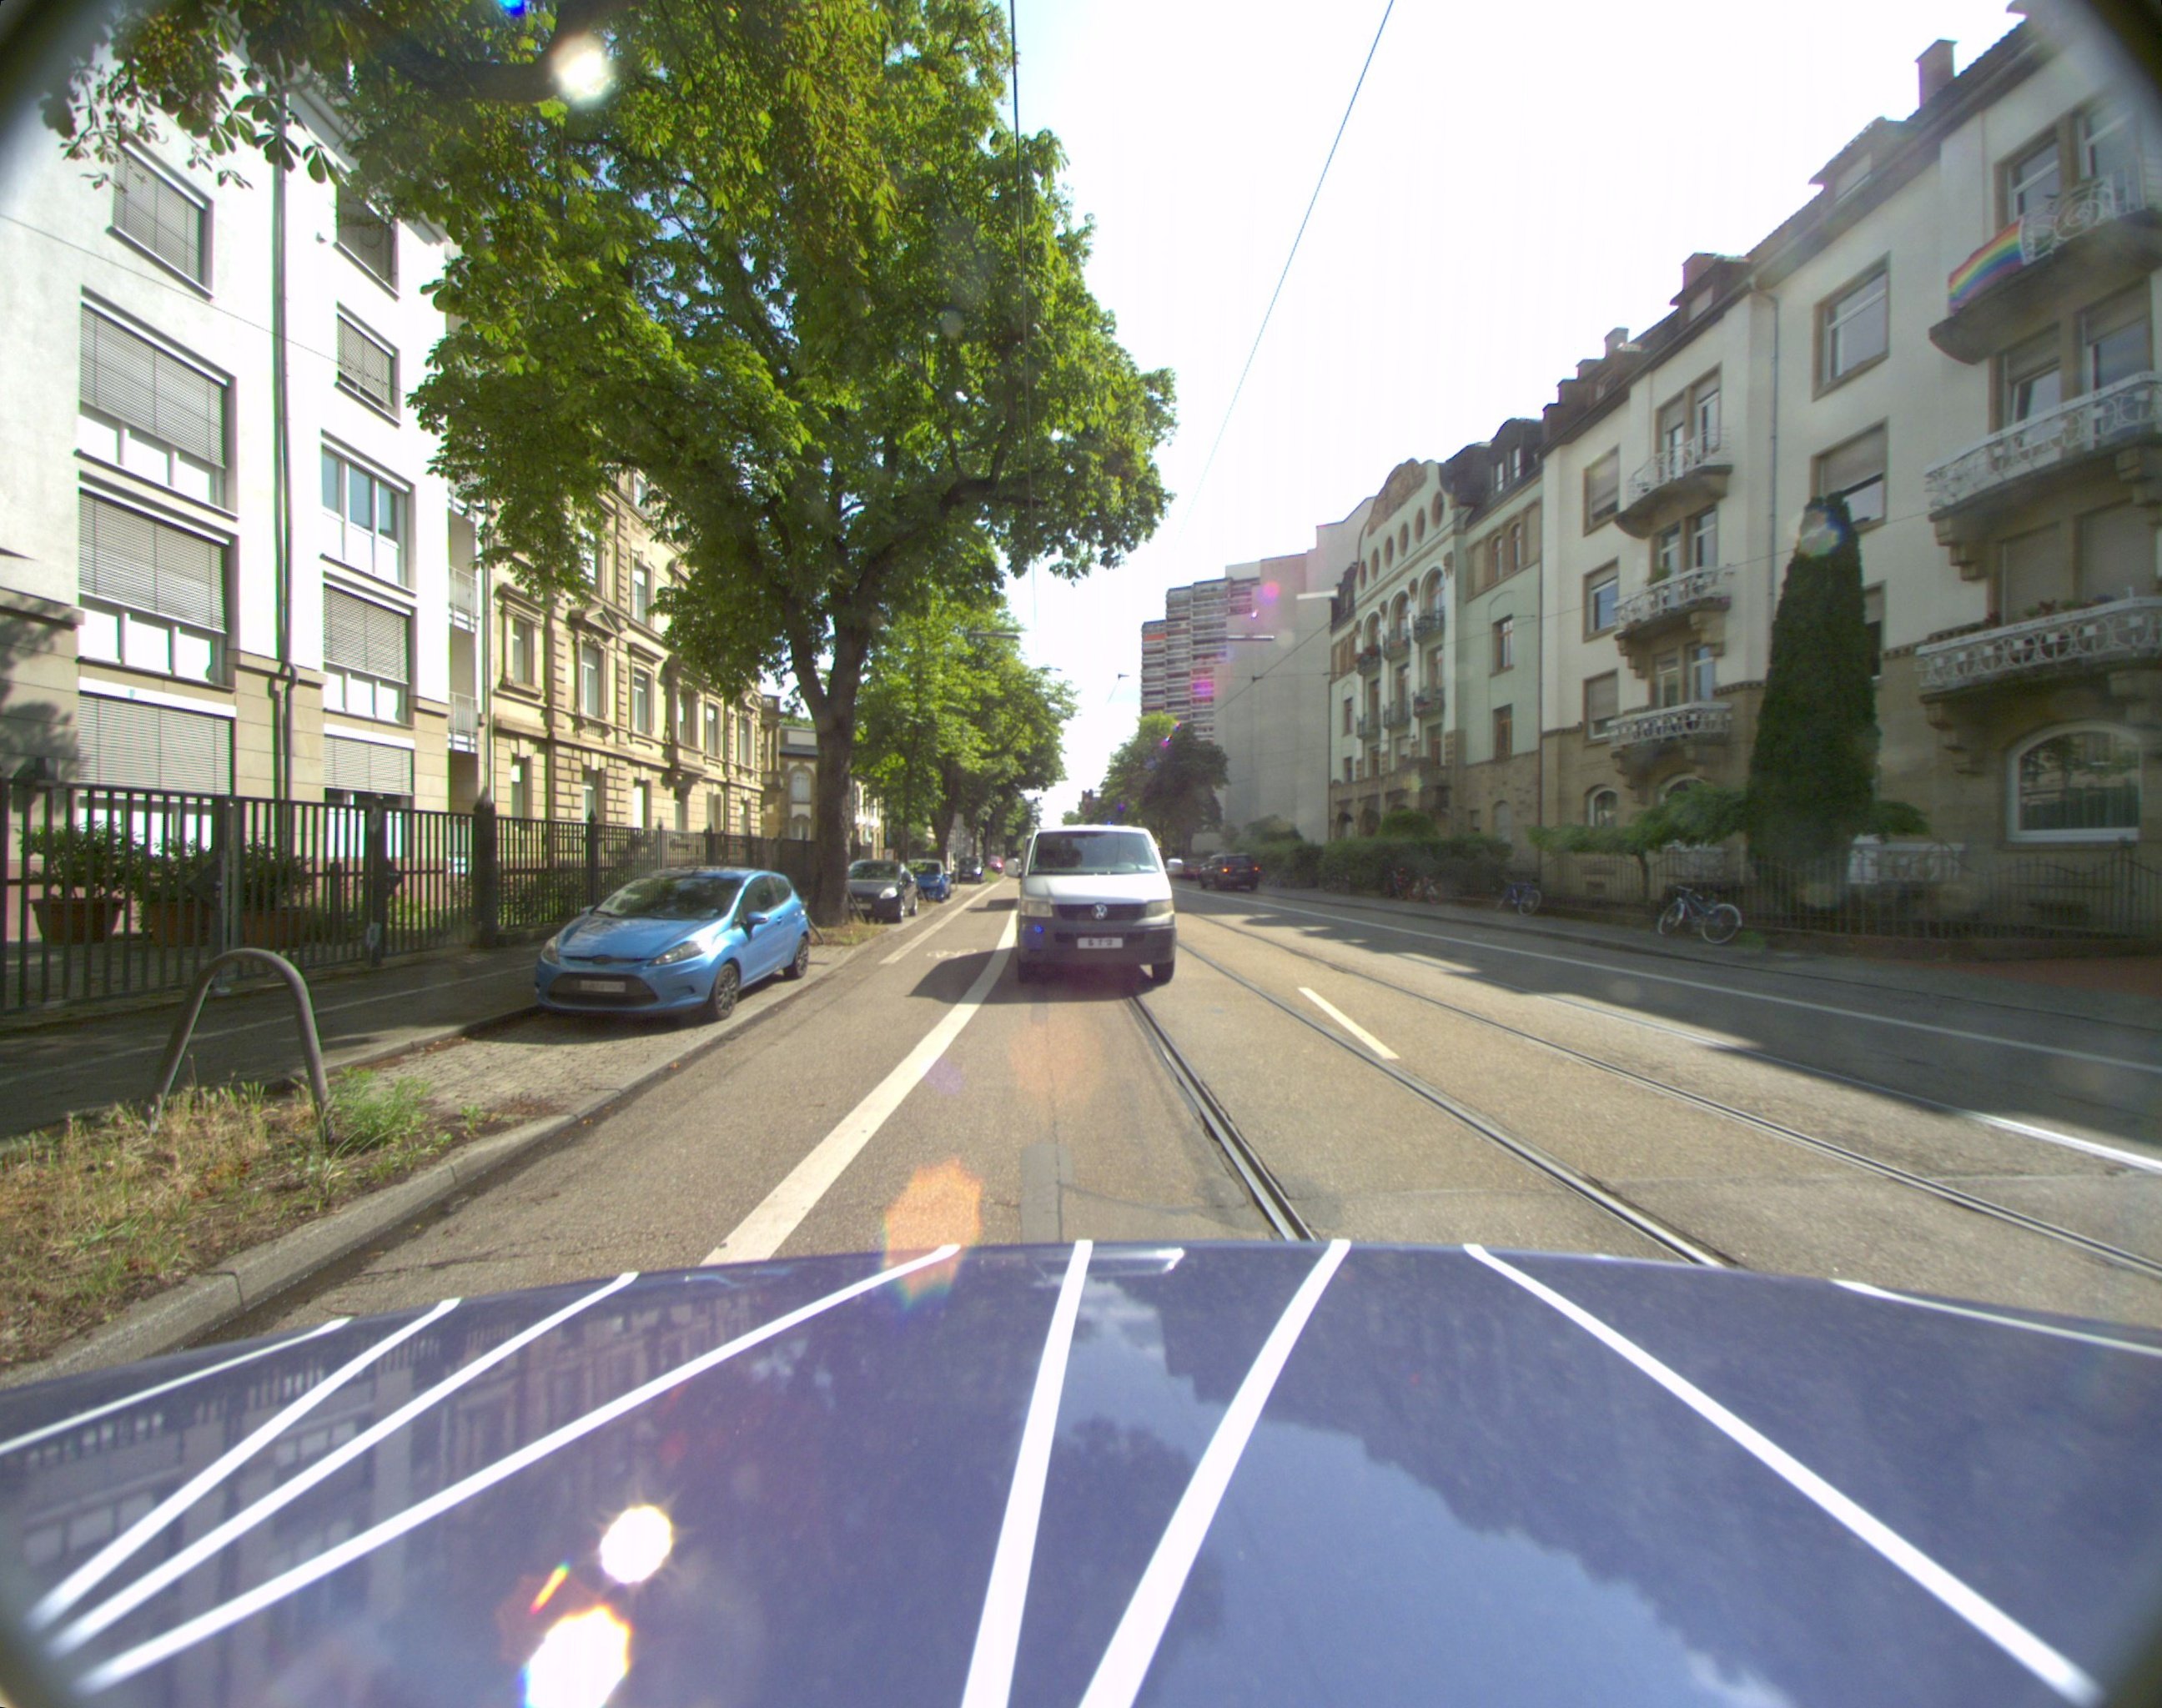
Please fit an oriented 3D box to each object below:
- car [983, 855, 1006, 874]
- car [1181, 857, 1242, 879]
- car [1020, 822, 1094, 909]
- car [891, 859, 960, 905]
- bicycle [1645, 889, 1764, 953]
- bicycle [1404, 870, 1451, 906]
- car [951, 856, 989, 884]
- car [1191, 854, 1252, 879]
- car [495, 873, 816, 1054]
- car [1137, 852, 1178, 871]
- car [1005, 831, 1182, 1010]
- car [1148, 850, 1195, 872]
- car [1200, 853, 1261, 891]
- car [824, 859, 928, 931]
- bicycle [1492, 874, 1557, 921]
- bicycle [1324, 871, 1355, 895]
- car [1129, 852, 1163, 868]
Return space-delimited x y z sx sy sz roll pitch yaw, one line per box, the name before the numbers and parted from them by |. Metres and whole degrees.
car | -7.775 0.895 68.572 1.774 1.563 4.198 2 0 -3
car | 8.930 0.952 52.041 3.890 1.527 1.634 0 0 -1
car | -0.907 0.318 25.273 2.168 2.572 5.661 0 0 -4
car | -5.414 0.931 26.863 1.724 1.443 3.925 2 0 -3
bicycle | 11.059 1.155 13.573 0.524 0.901 2.067 0 2 4
bicycle | 10.571 1.027 23.240 0.587 0.980 1.873 0 1 1
car | -6.638 0.898 45.733 1.774 1.522 4.198 2 0 -3
car | 9.045 0.793 49.114 3.631 1.630 1.610 0 1 -3
car | -4.341 1.008 8.462 1.642 1.447 3.697 2 0 -4
car | 7.168 0.707 71.519 3.663 1.832 1.735 0 0 -3
car | 0.163 0.688 10.383 1.831 1.856 4.845 -1 0 1
car | 8.080 0.639 68.268 3.997 1.914 1.831 0 0 -1
car | 7.020 0.802 36.073 1.796 1.701 4.330 0 0 -4
car | -4.930 0.930 18.749 1.644 1.499 3.622 2 0 -2
bicycle | 10.905 1.043 18.753 0.539 1.024 1.873 0 1 1
bicycle | 9.960 1.109 29.368 0.587 0.792 1.873 -2 1 1
car | 6.949 0.628 81.253 3.542 1.733 1.635 0 0 -1
